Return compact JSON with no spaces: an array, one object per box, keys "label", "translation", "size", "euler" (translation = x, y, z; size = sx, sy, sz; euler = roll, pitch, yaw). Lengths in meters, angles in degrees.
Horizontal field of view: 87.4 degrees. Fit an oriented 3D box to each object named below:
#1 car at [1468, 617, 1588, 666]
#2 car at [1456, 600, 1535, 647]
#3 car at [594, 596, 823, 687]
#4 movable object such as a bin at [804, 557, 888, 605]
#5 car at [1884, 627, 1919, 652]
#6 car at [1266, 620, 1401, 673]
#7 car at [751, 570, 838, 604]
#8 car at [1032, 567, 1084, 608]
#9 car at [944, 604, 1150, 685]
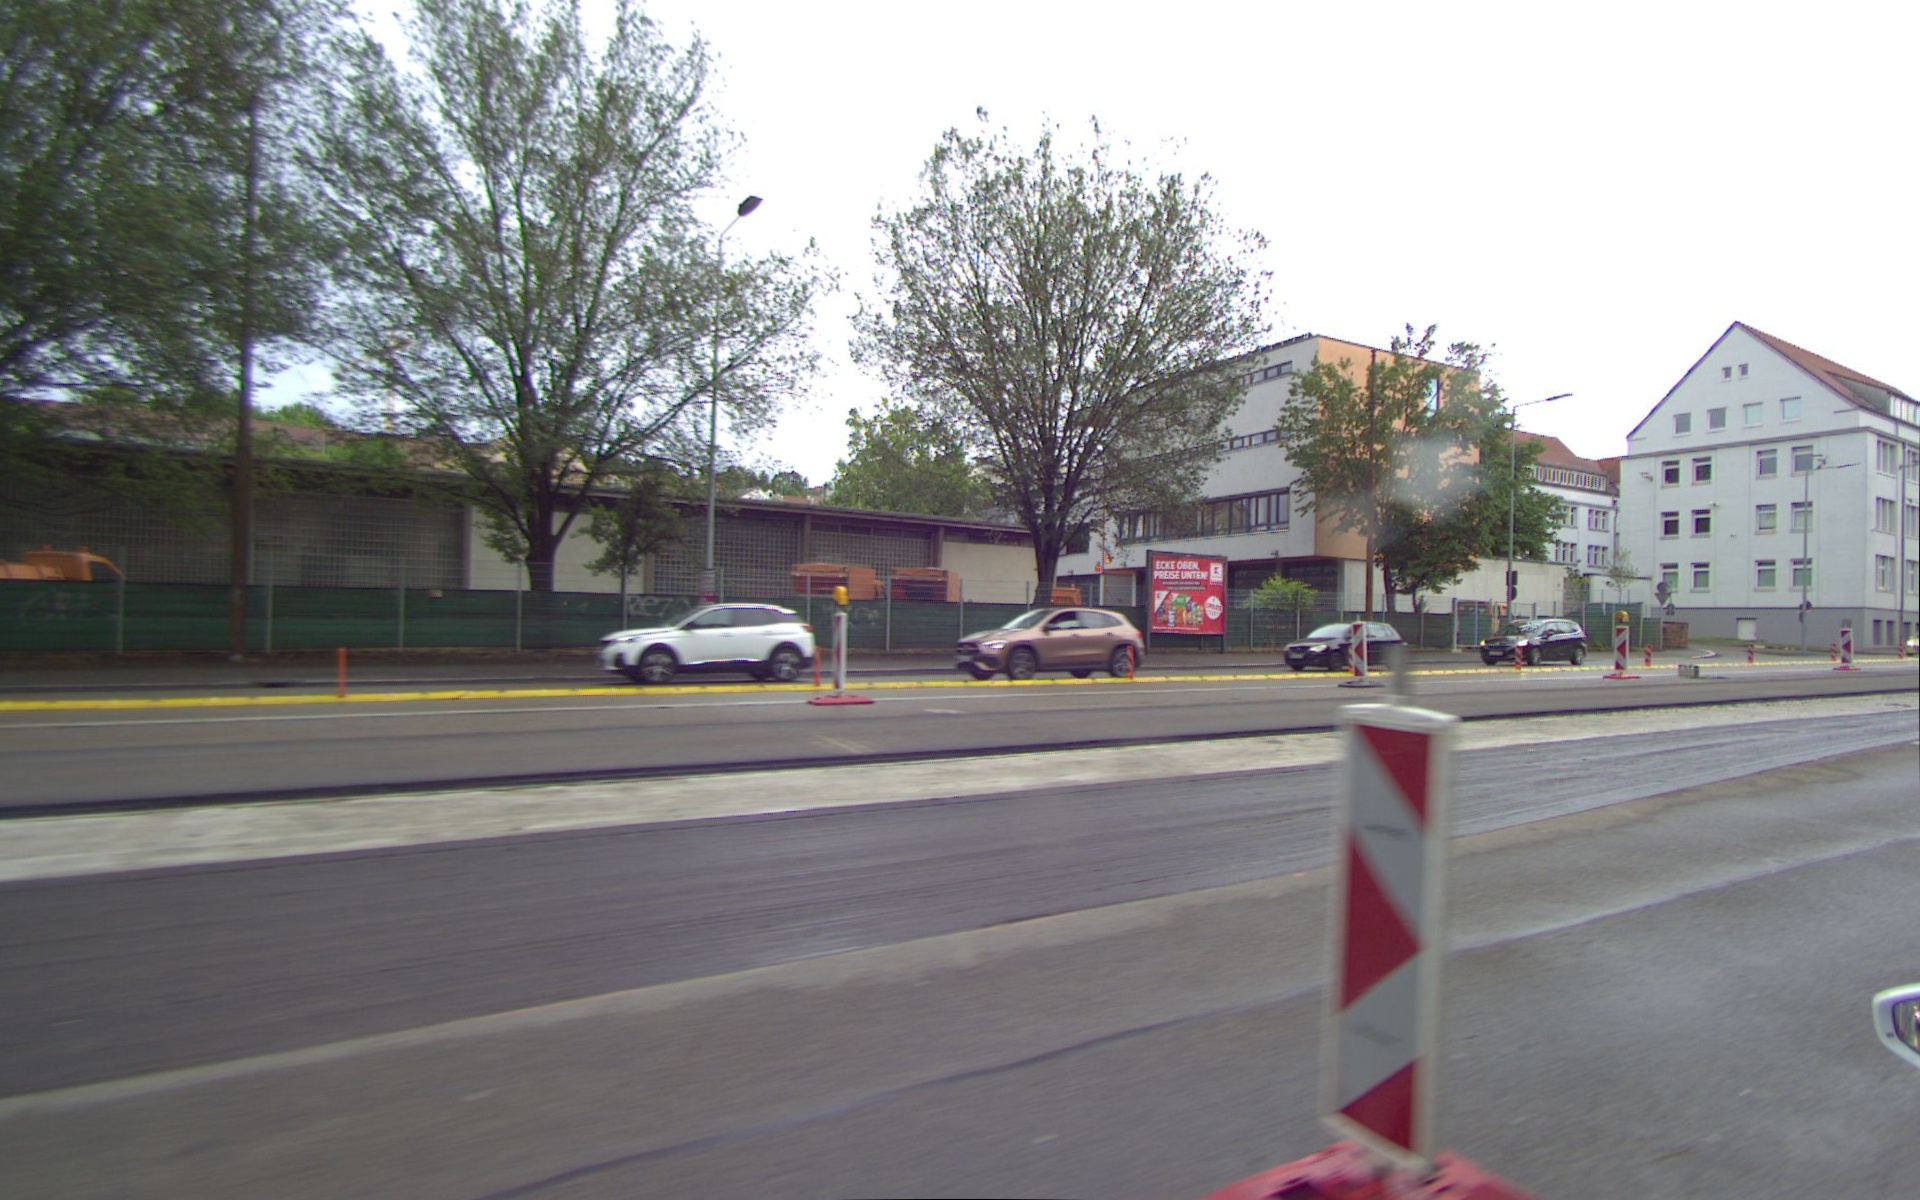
[{"label":"car","translation":[20.409,1.507,36.080],"size":[4.278,1.651,1.851],"euler":[2,-3,-30]},{"label":"car","translation":[25.976,1.141,48.679],"size":[3.955,2.199,1.602],"euler":[1,-1,-31]},{"label":"car","translation":[-5.221,0.888,20.971],"size":[4.313,1.728,1.851],"euler":[2,-3,-30]},{"label":"movable object such as a bin","translation":[-4.028,-0.642,36.118],"size":[1.718,1.548,4.026],"euler":[1,-1,13]},{"label":"car","translation":[54.011,2.236,56.867],"size":[1.530,1.386,3.800],"euler":[-1,-3,28]},{"label":"car","translation":[11.131,1.391,29.902],"size":[3.688,1.495,1.851],"euler":[2,-3,-30]},{"label":"car","translation":[-5.986,-0.447,36.729],"size":[1.718,1.076,4.026],"euler":[1,-1,13]},{"label":"car","translation":[4.083,-0.478,41.418],"size":[1.959,1.548,4.026],"euler":[1,-1,8]},{"label":"car","translation":[1.958,1.002,22.336],"size":[4.313,1.640,1.851],"euler":[2,-3,-30]}]
